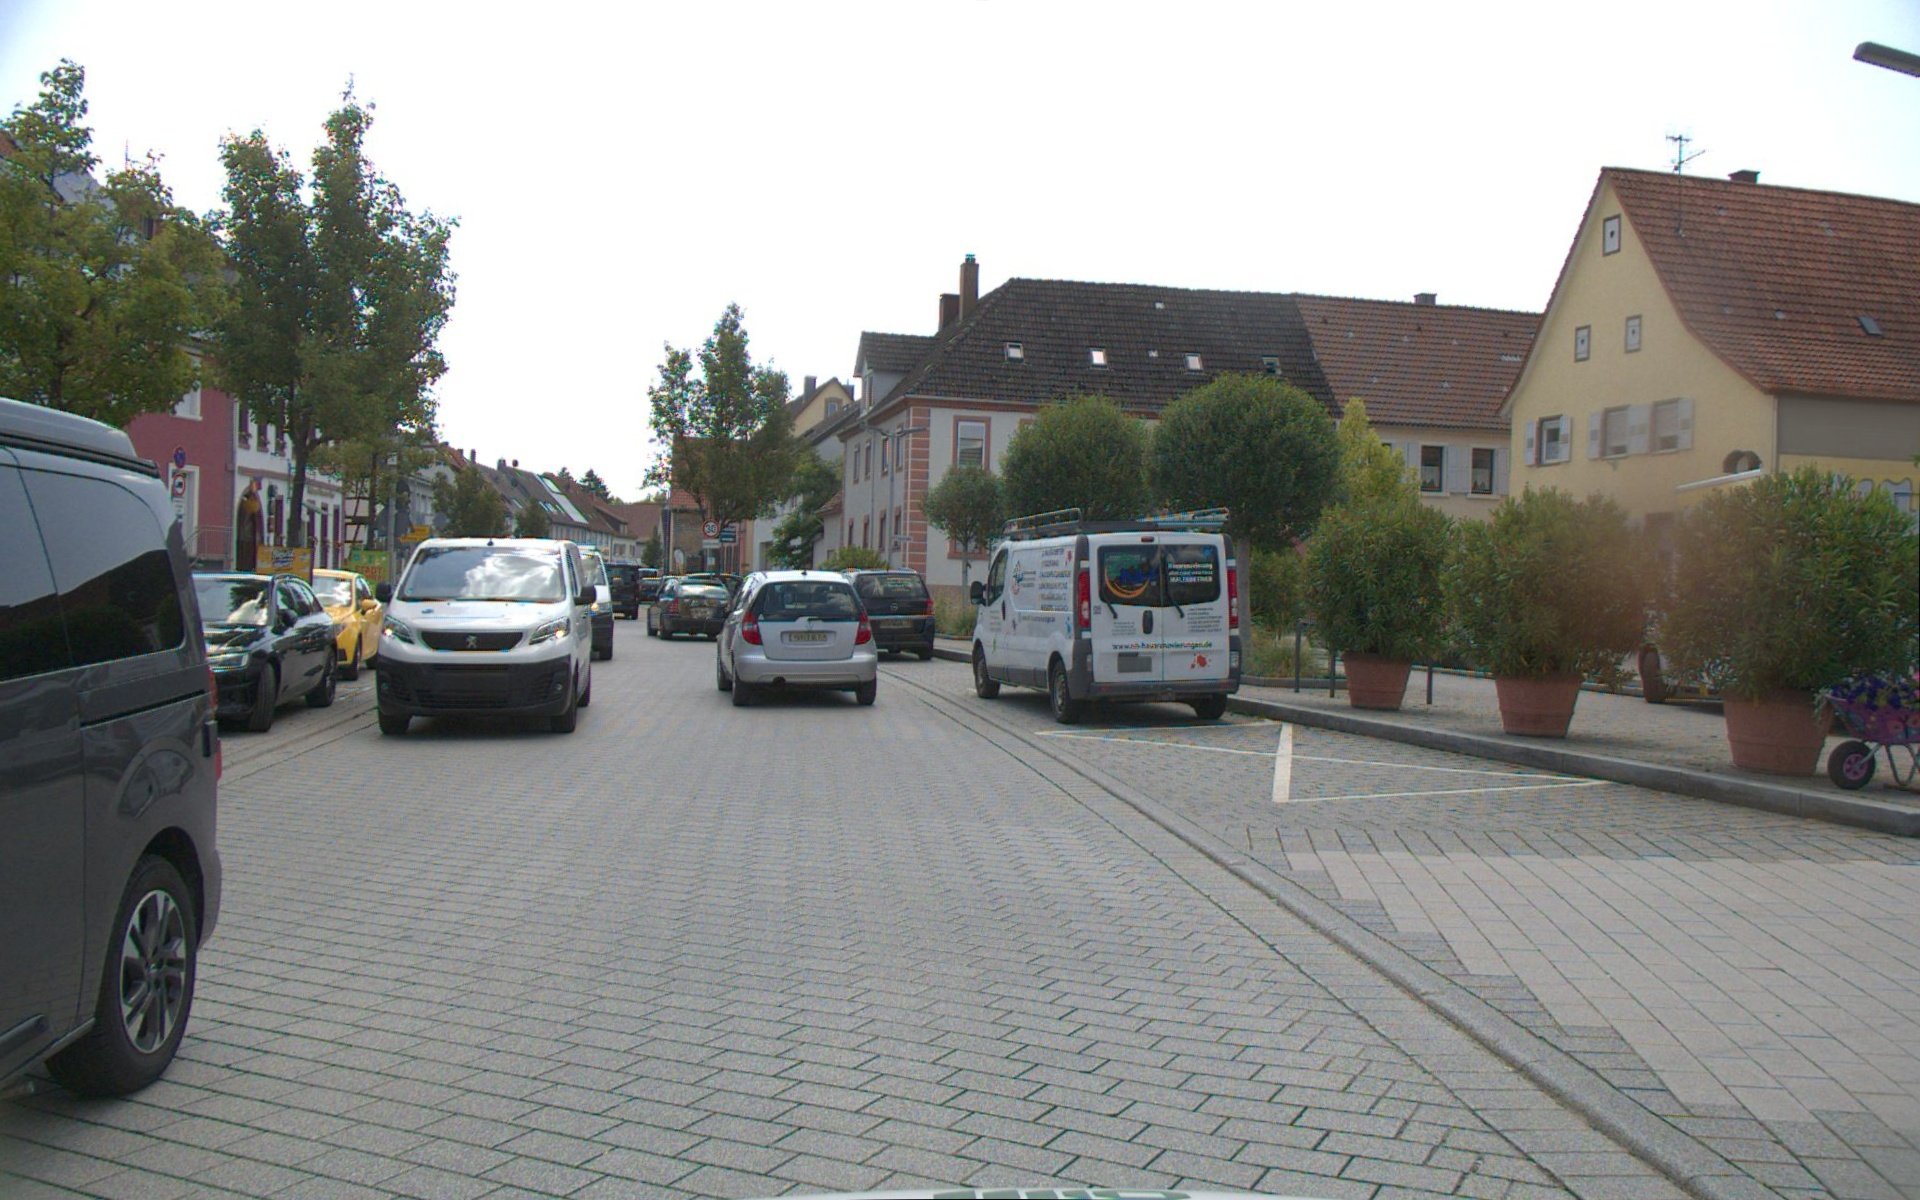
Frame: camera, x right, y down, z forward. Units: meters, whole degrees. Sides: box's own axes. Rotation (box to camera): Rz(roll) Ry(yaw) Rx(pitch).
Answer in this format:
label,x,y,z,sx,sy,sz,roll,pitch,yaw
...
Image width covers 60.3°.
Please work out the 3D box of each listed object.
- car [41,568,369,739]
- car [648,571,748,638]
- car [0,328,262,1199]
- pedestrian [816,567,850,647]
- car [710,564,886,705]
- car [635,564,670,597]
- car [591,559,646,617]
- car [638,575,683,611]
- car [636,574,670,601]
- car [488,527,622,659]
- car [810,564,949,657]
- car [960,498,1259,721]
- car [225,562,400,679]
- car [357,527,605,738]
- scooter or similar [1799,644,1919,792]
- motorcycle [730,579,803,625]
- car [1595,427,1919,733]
label,x,y,z,sx,sy,sz,roll,pitch,yaw
car,-7.312,0.428,16.547,1.782,1.448,4.528,1,1,-9
car,-6.209,0.067,38.897,1.913,1.432,3.984,1,1,-15
car,-3.126,0.400,3.162,1.955,2.048,4.734,1,1,-6
pedestrian,-2.669,0.137,34.777,0.627,1.657,0.619,1,0,-12
car,-2.167,0.363,21.190,1.738,1.622,3.987,0,1,-13
car,-19.436,-1.228,104.535,1.860,2.016,4.913,-1,1,-14
car,-12.375,-0.437,59.746,1.738,1.920,4.432,4,0,-13
car,-15.155,-0.377,83.568,1.960,1.710,4.308,1,1,-14
car,-17.938,-0.729,96.526,1.744,1.521,4.147,1,1,-14
car,-7.551,-0.149,30.512,1.860,2.224,5.001,1,1,-20
car,-1.577,0.149,30.642,1.739,1.592,4.402,1,1,-14
car,1.522,0.037,19.070,1.909,2.215,5.083,-1,1,-14
car,-8.989,0.231,23.253,1.639,1.500,3.951,1,1,-12
car,-4.932,0.270,17.681,1.957,1.912,4.855,1,1,-10
scooter or similar,6.274,0.762,10.838,1.119,0.896,0.815,1,0,-5
motorcycle,-6.167,0.049,52.670,2.176,1.419,0.871,1,1,29
car,10.264,-0.170,20.000,2.695,3.014,7.117,2,0,3
